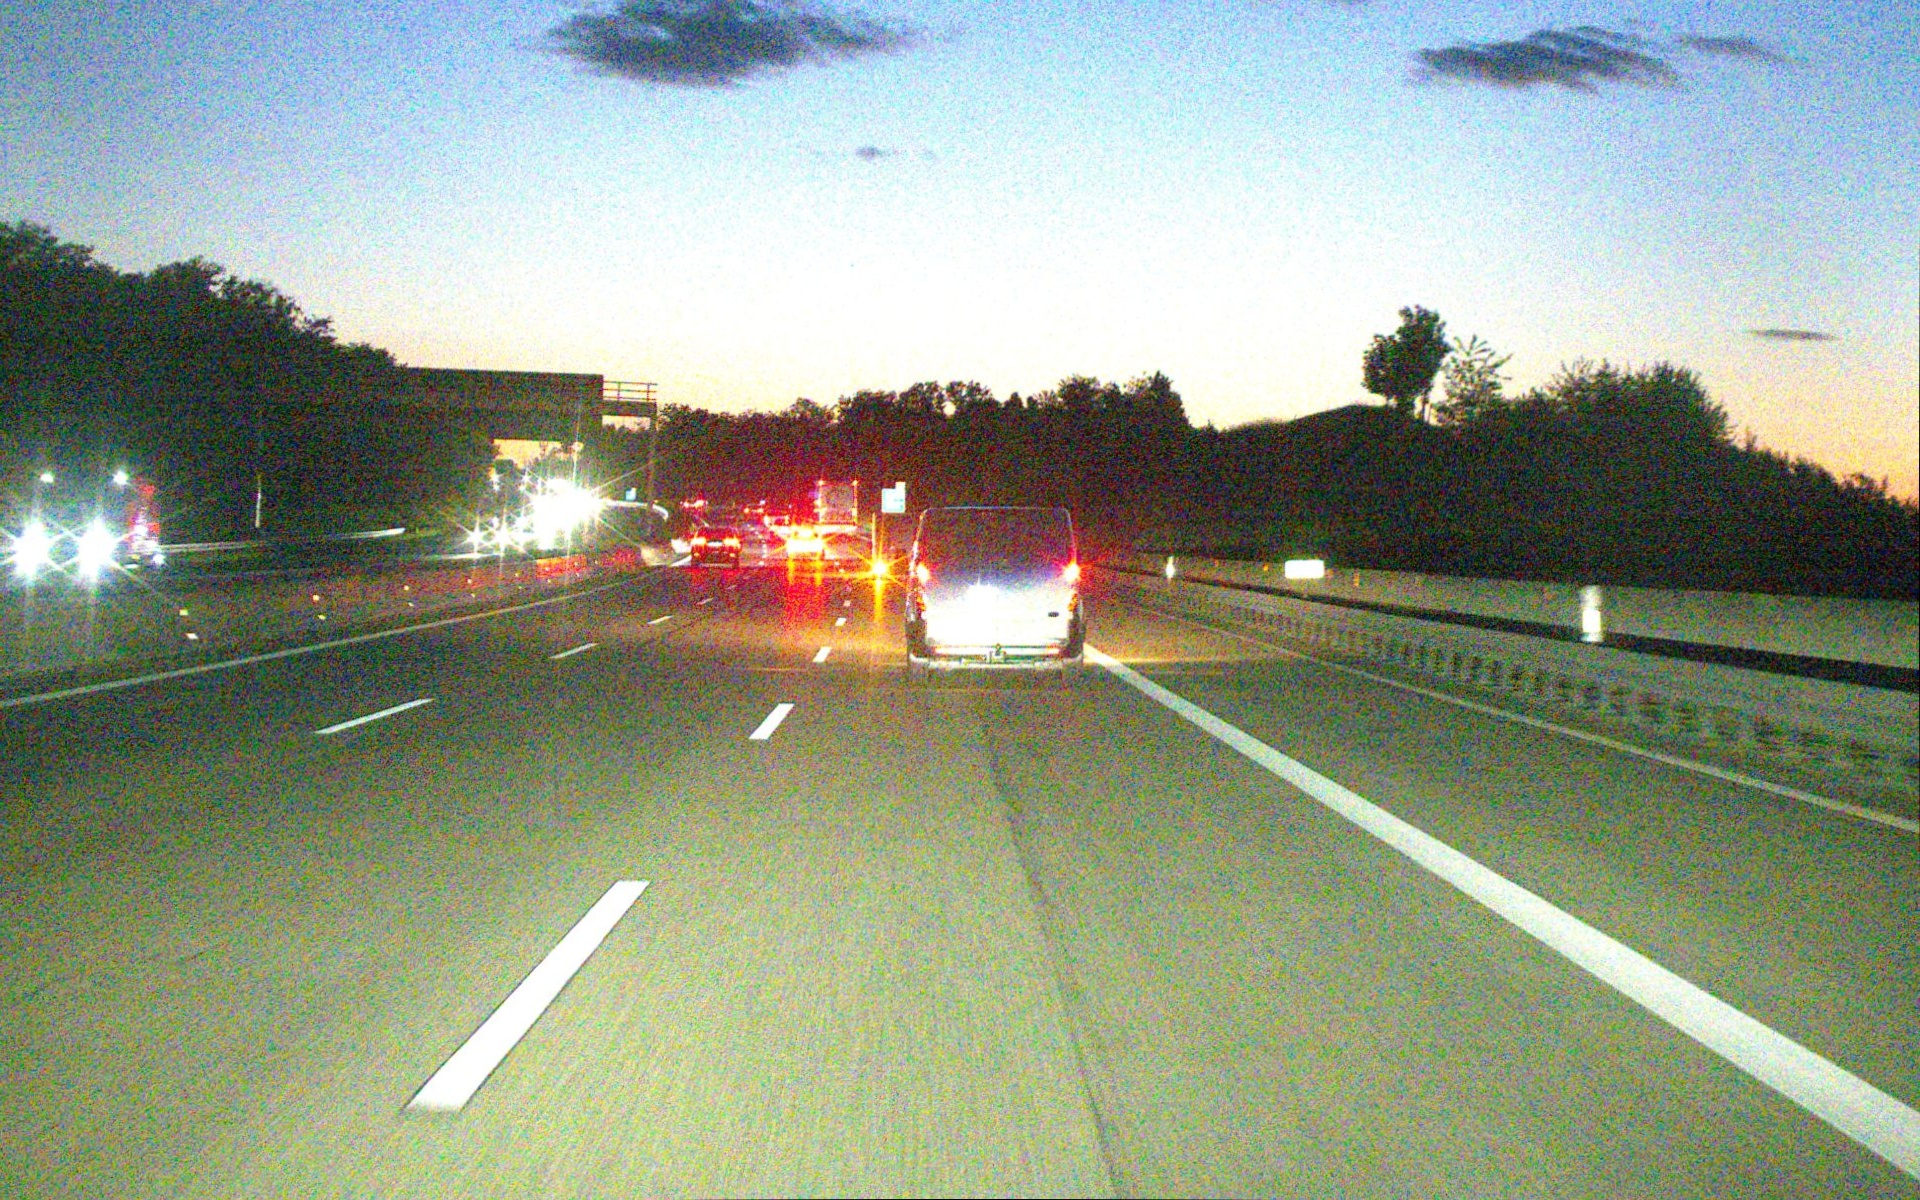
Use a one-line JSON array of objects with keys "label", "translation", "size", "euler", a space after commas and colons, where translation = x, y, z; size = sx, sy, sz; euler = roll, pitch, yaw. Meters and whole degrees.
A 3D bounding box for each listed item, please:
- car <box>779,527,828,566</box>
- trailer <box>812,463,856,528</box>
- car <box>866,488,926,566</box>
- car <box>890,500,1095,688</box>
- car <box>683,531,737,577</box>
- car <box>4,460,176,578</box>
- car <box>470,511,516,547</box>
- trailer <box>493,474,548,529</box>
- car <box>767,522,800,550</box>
[{"label": "car", "translation": [-7.517, -2.566, 164.706], "size": [1.993, 1.788, 4.001], "euler": [1, 0, -8]}, {"label": "trailer", "translation": [-9.258, -7.569, 251.498], "size": [2.829, 4.242, 17.051], "euler": [1, 0, -3]}, {"label": "car", "translation": [-2.227, -2.576, 120.052], "size": [2.032, 2.637, 5.725], "euler": [1, 1, -1]}, {"label": "car", "translation": [0.293, -0.140, 39.855], "size": [2.115, 1.994, 5.665], "euler": [1, 1, -2]}, {"label": "car", "translation": [-10.121, -1.854, 139.399], "size": [1.993, 1.809, 4.000], "euler": [1, 0, -2]}, {"label": "car", "translation": [-23.996, -2.258, 95.229], "size": [2.652, 3.074, 8.215], "euler": [1, 2, 0]}, {"label": "car", "translation": [-23.385, -3.528, 172.254], "size": [1.822, 1.688, 4.674], "euler": [1, 0, -2]}, {"label": "trailer", "translation": [-32.225, -7.207, 252.349], "size": [3.429, 3.966, 7.354], "euler": [1, 1, -3]}, {"label": "car", "translation": [-11.655, -4.203, 227.119], "size": [1.993, 1.788, 4.000], "euler": [1, 0, -1]}]
